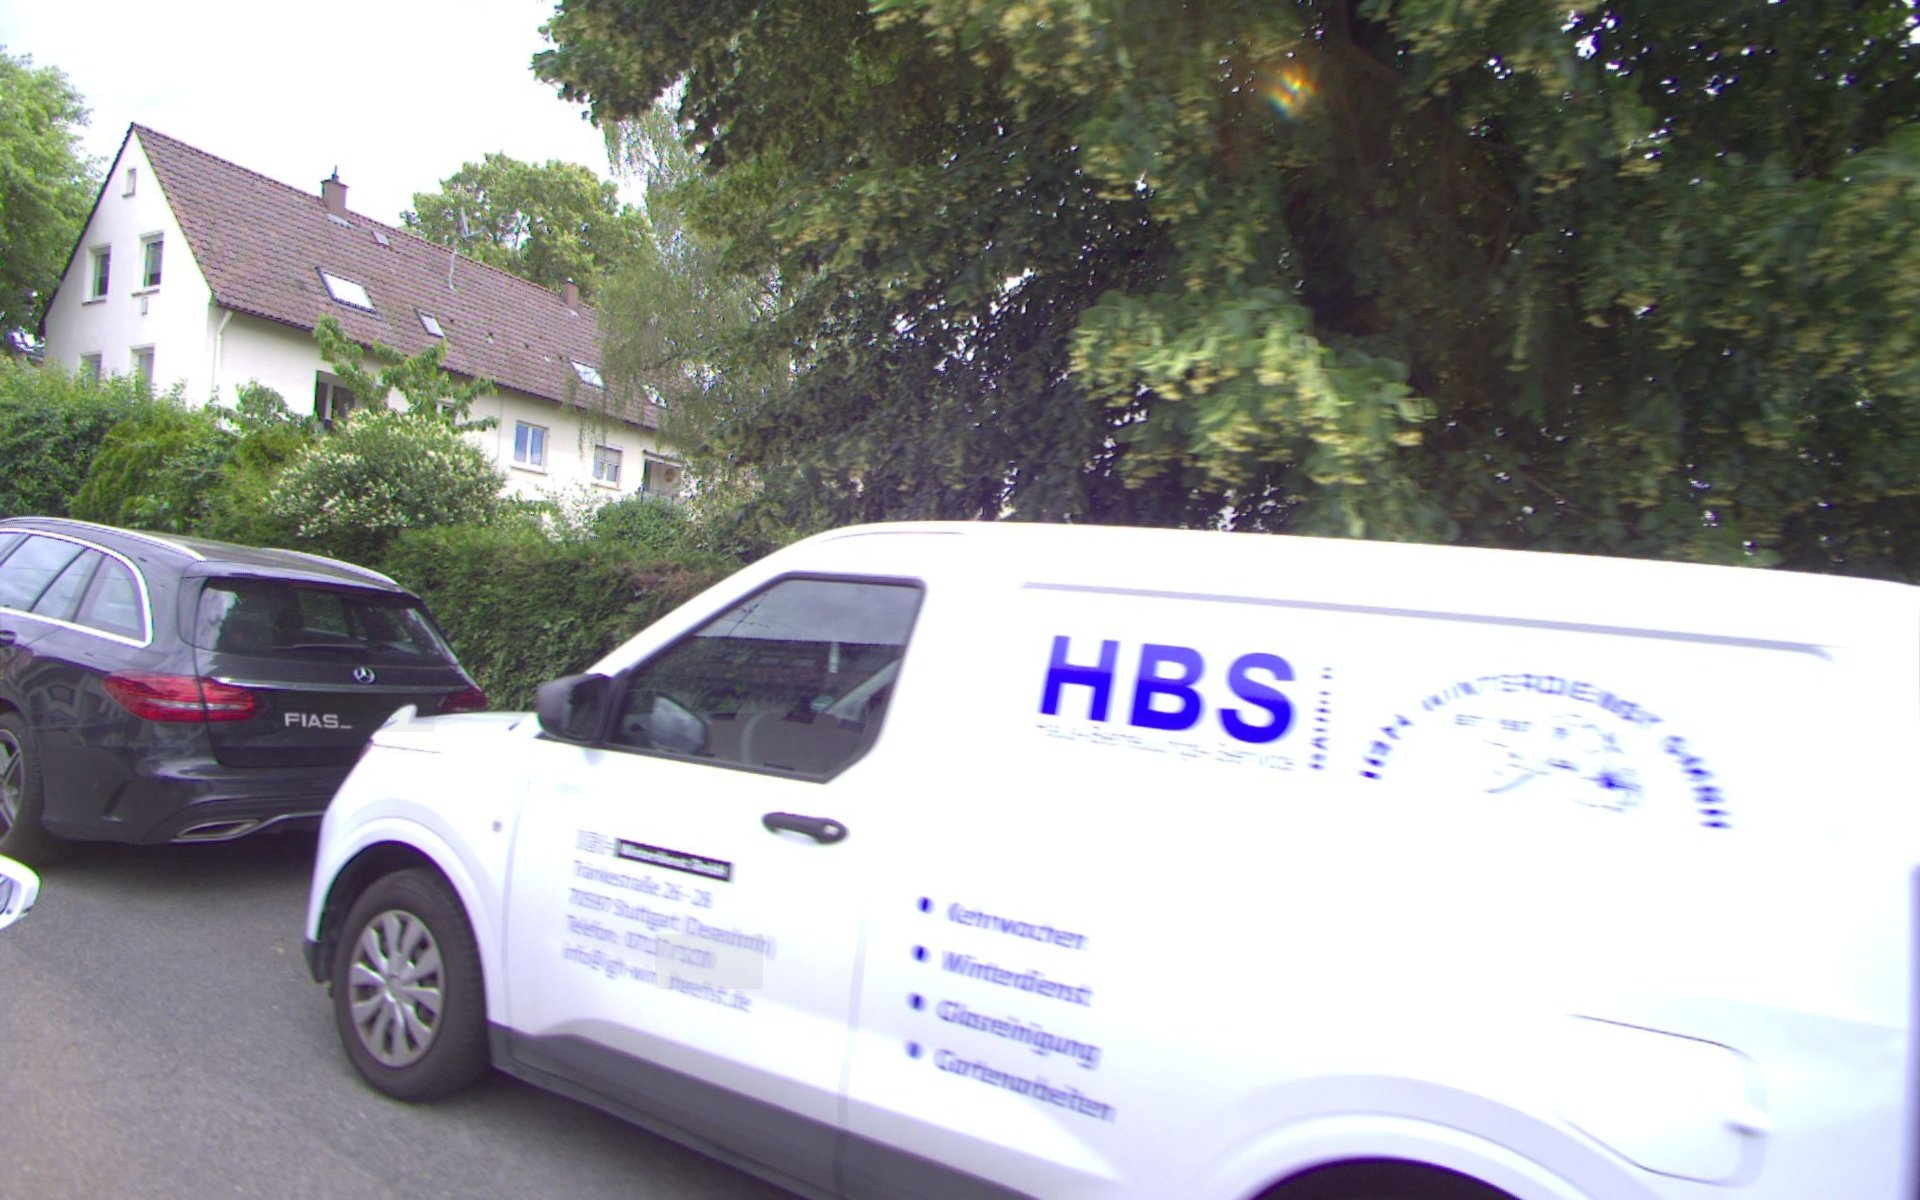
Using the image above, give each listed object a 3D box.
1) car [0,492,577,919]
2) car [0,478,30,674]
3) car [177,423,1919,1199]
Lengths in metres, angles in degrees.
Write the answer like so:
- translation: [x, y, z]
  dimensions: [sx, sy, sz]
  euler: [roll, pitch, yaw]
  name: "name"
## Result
- translation: [-4.565, 0.261, 5.565]
  dimensions: [4.540, 1.496, 1.997]
  euler: [6, 0, 28]
  name: "car"
- translation: [-10.387, -0.472, 8.690]
  dimensions: [4.461, 1.634, 1.999]
  euler: [6, -2, 28]
  name: "car"
- translation: [-0.074, 0.642, 3.057]
  dimensions: [4.241, 1.794, 1.844]
  euler: [7, -2, 27]
  name: "car"
